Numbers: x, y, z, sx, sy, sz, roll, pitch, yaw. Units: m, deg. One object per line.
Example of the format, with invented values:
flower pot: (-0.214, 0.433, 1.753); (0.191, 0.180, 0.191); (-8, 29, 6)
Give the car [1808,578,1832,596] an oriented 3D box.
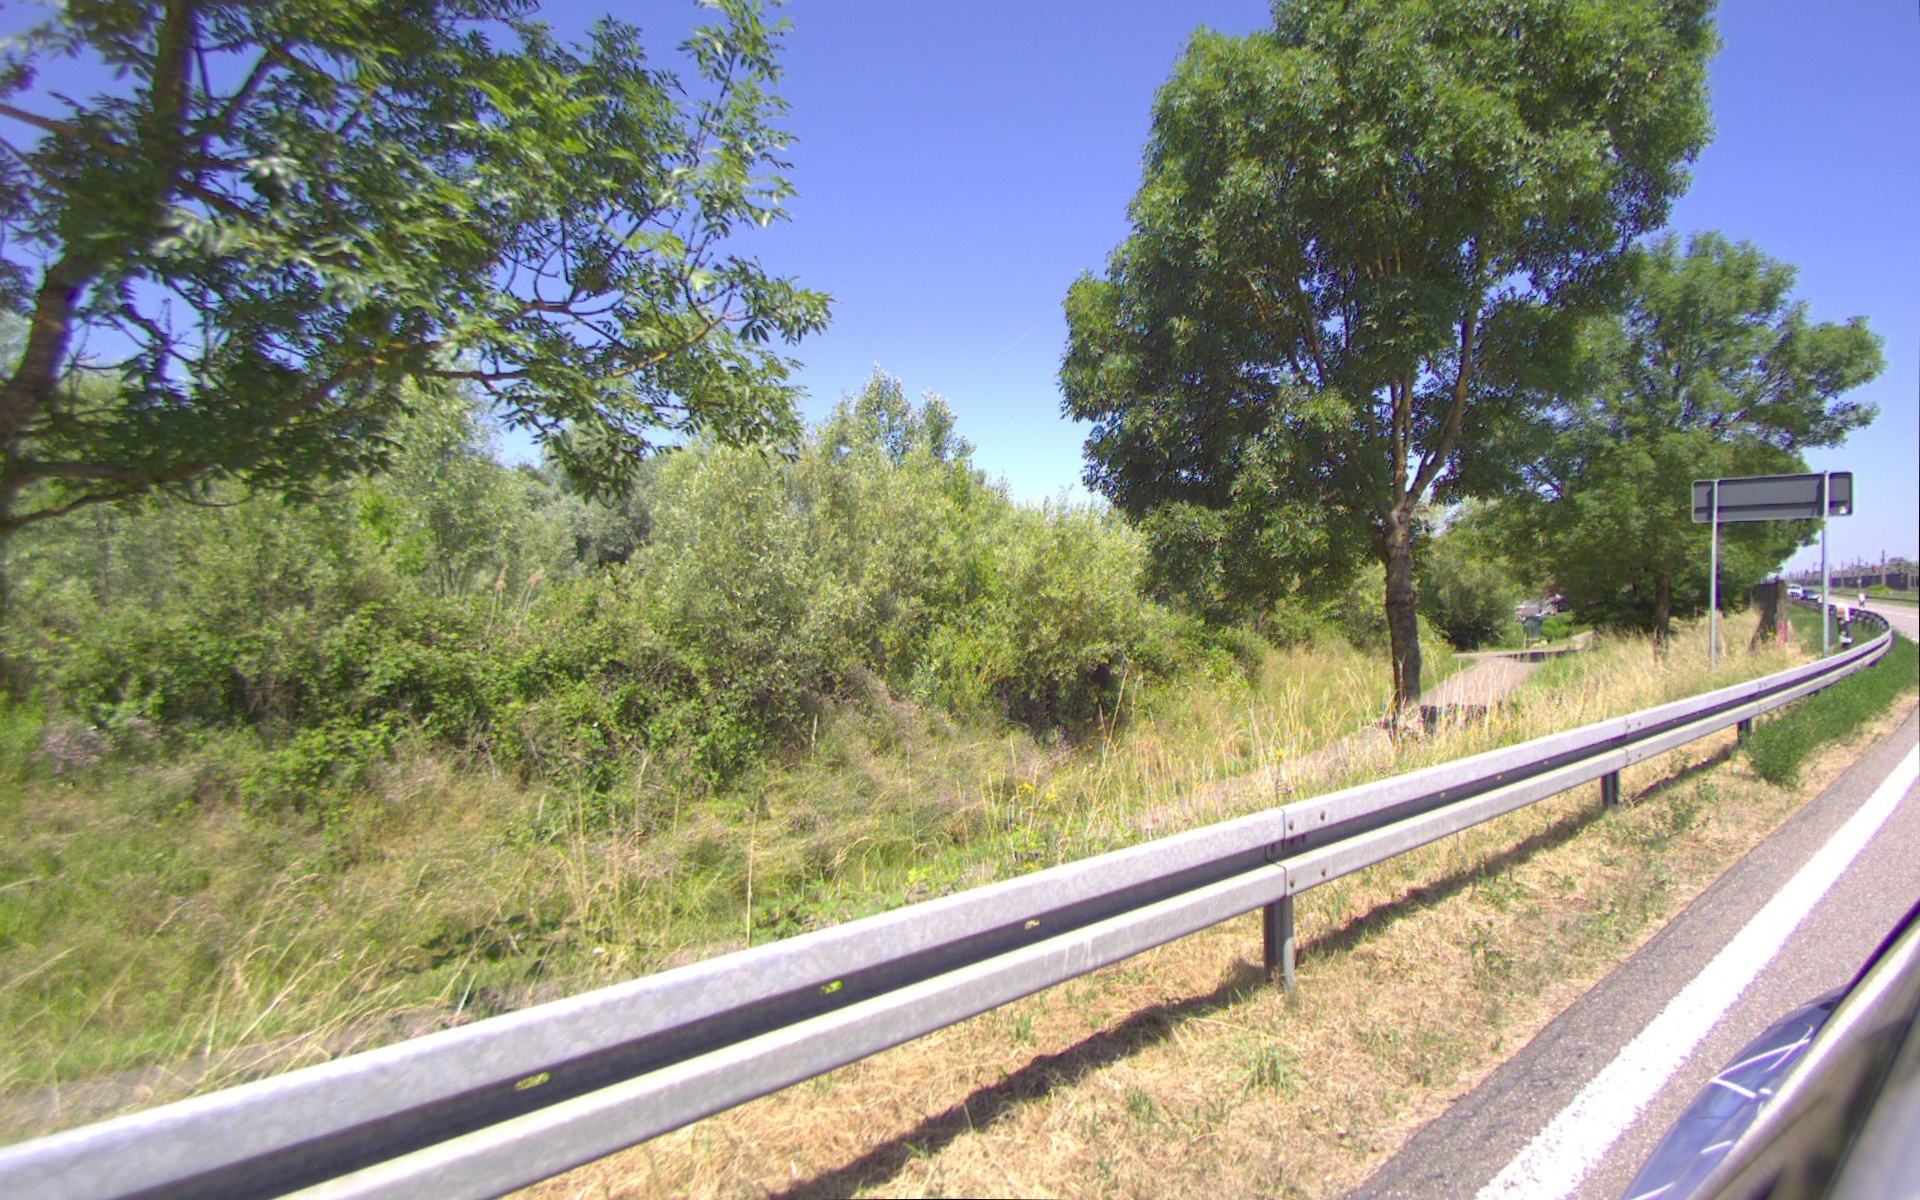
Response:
car: (100.378, -1.547, 118.105); (1.992, 2.039, 3.940); (1, 2, 41)
